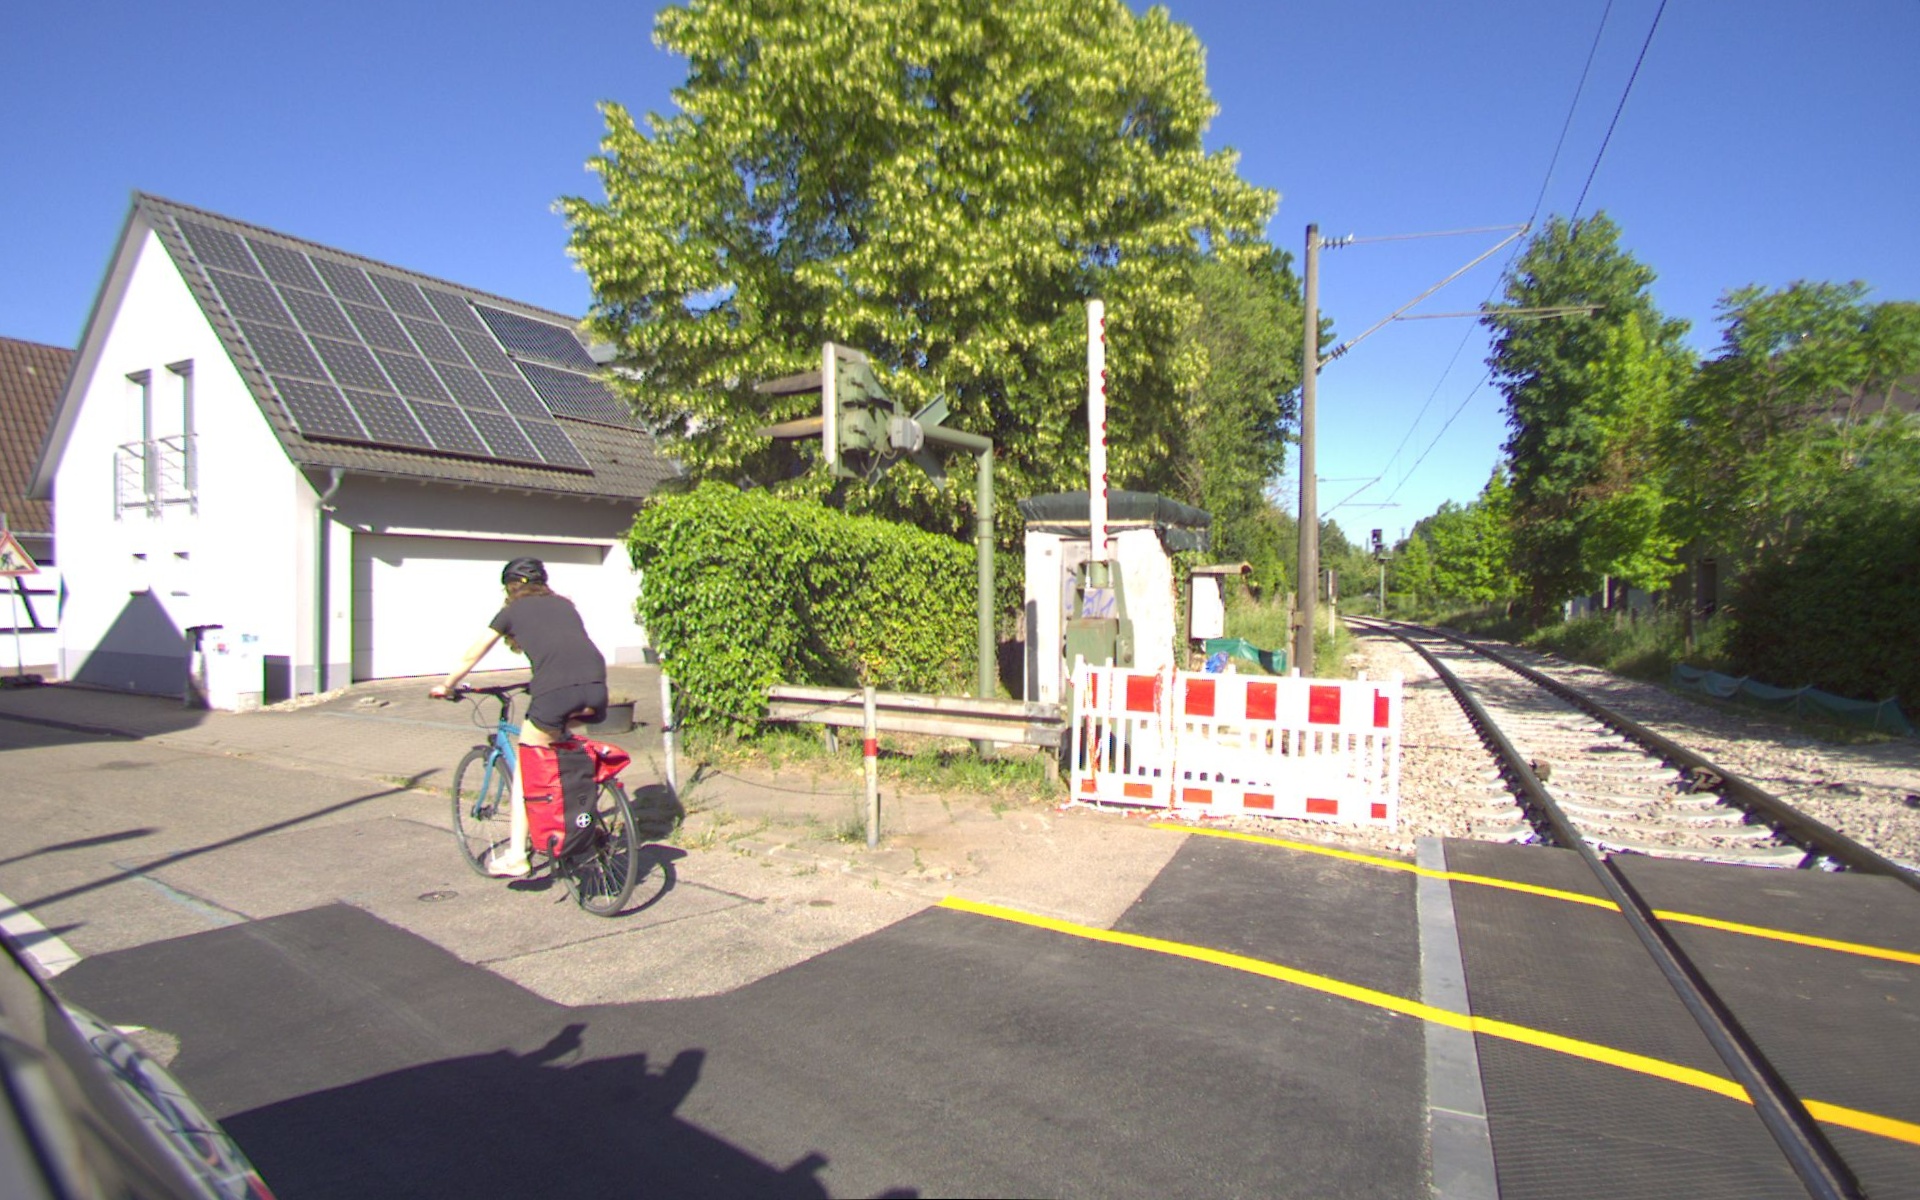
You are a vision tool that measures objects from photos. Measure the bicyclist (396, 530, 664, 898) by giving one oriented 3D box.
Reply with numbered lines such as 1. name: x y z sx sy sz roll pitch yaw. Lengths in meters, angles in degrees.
1. bicyclist: -2.063 0.480 4.878 0.871 1.553 0.840 1 0 36

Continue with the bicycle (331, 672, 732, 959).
1. bicycle: -2.133 0.909 4.918 2.059 1.013 0.875 -1 -2 37
